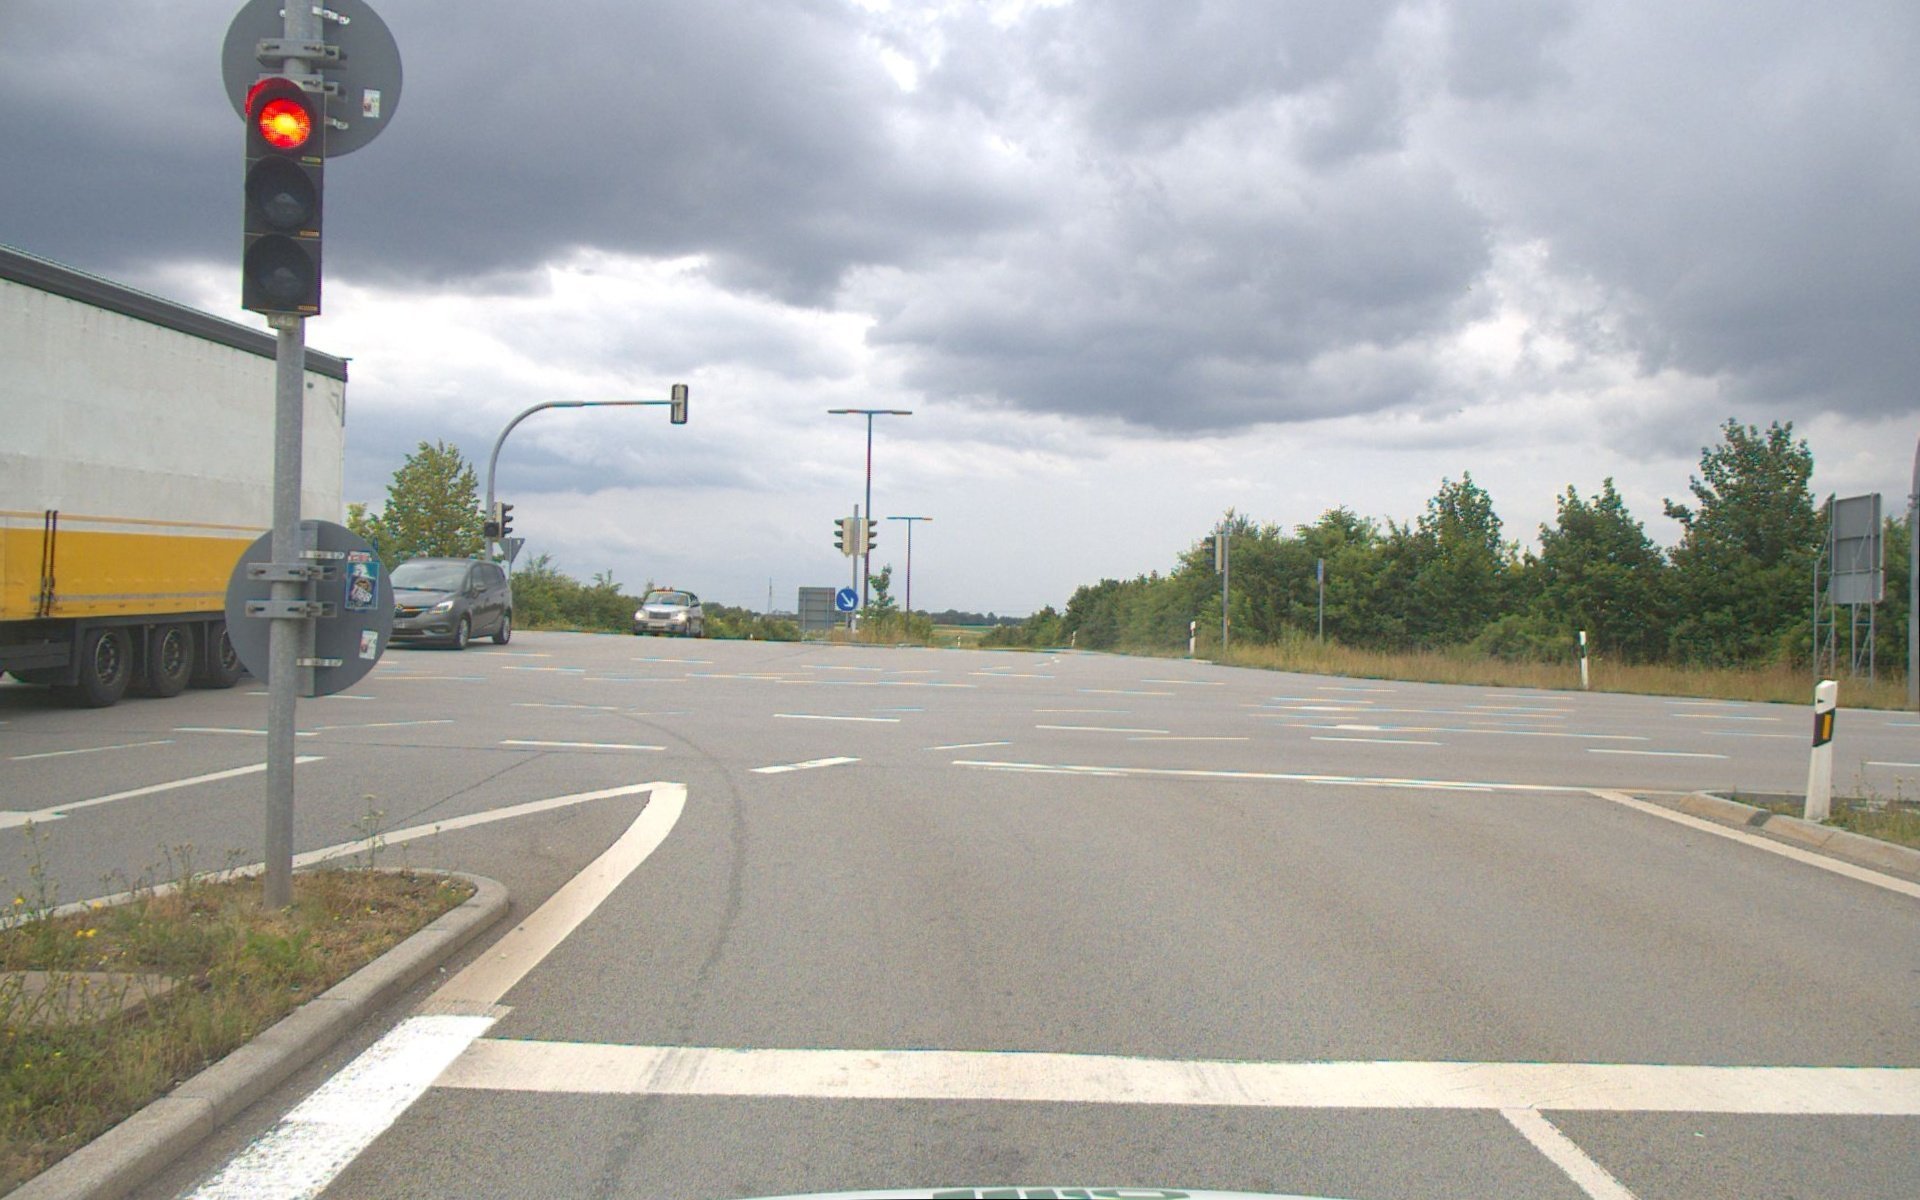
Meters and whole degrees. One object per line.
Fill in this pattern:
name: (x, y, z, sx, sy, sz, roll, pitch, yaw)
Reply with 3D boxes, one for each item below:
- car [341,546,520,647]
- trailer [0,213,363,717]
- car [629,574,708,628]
car: (-9.777, -0.053, 30.916, 1.953, 1.723, 4.454, 1, 0, -1)
trailer: (-9.481, -1.160, 15.387, 2.636, 4.284, 13.841, 1, 0, 1)
car: (-9.165, -0.003, 52.321, 1.773, 1.546, 4.242, 2, 1, -1)
